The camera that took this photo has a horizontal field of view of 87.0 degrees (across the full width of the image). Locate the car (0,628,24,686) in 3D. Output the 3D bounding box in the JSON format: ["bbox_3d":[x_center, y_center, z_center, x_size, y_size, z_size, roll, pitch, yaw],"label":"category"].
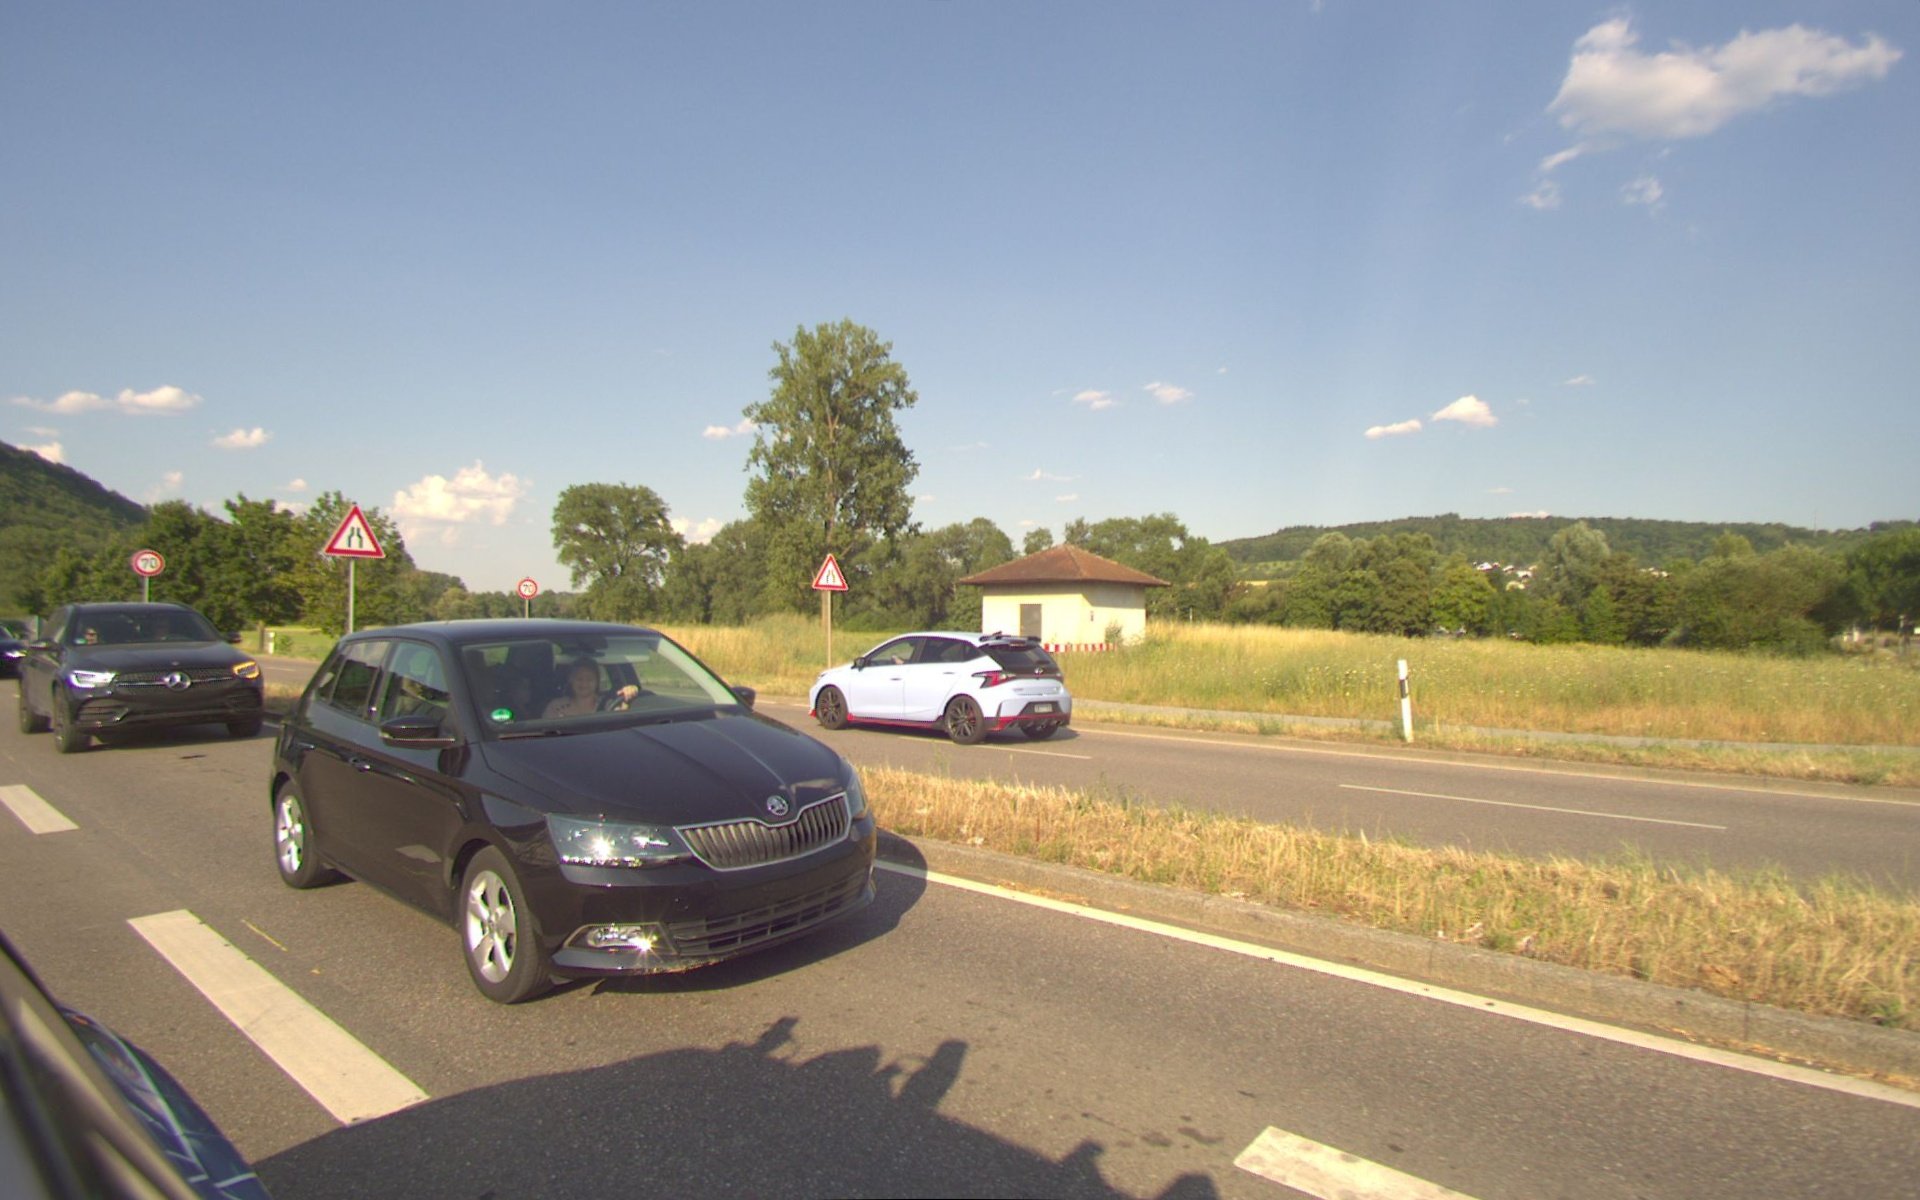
[{"bbox_3d":[-23.885,1.349,24.518,1.619,1.302,3.886,2,-2,-44],"label":"car"}]

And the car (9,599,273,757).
[{"bbox_3d":[-10.100,0.815,12.372,4.143,1.586,1.834,-1,0,41],"label":"car"}]

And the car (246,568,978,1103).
[{"bbox_3d":[-1.952,0.709,4.927,3.998,1.586,1.596,-1,0,41],"label":"car"}]

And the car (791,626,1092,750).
[{"bbox_3d":[-0.362,1.131,14.125,4.143,1.445,1.690,-1,-3,41],"label":"car"}]
